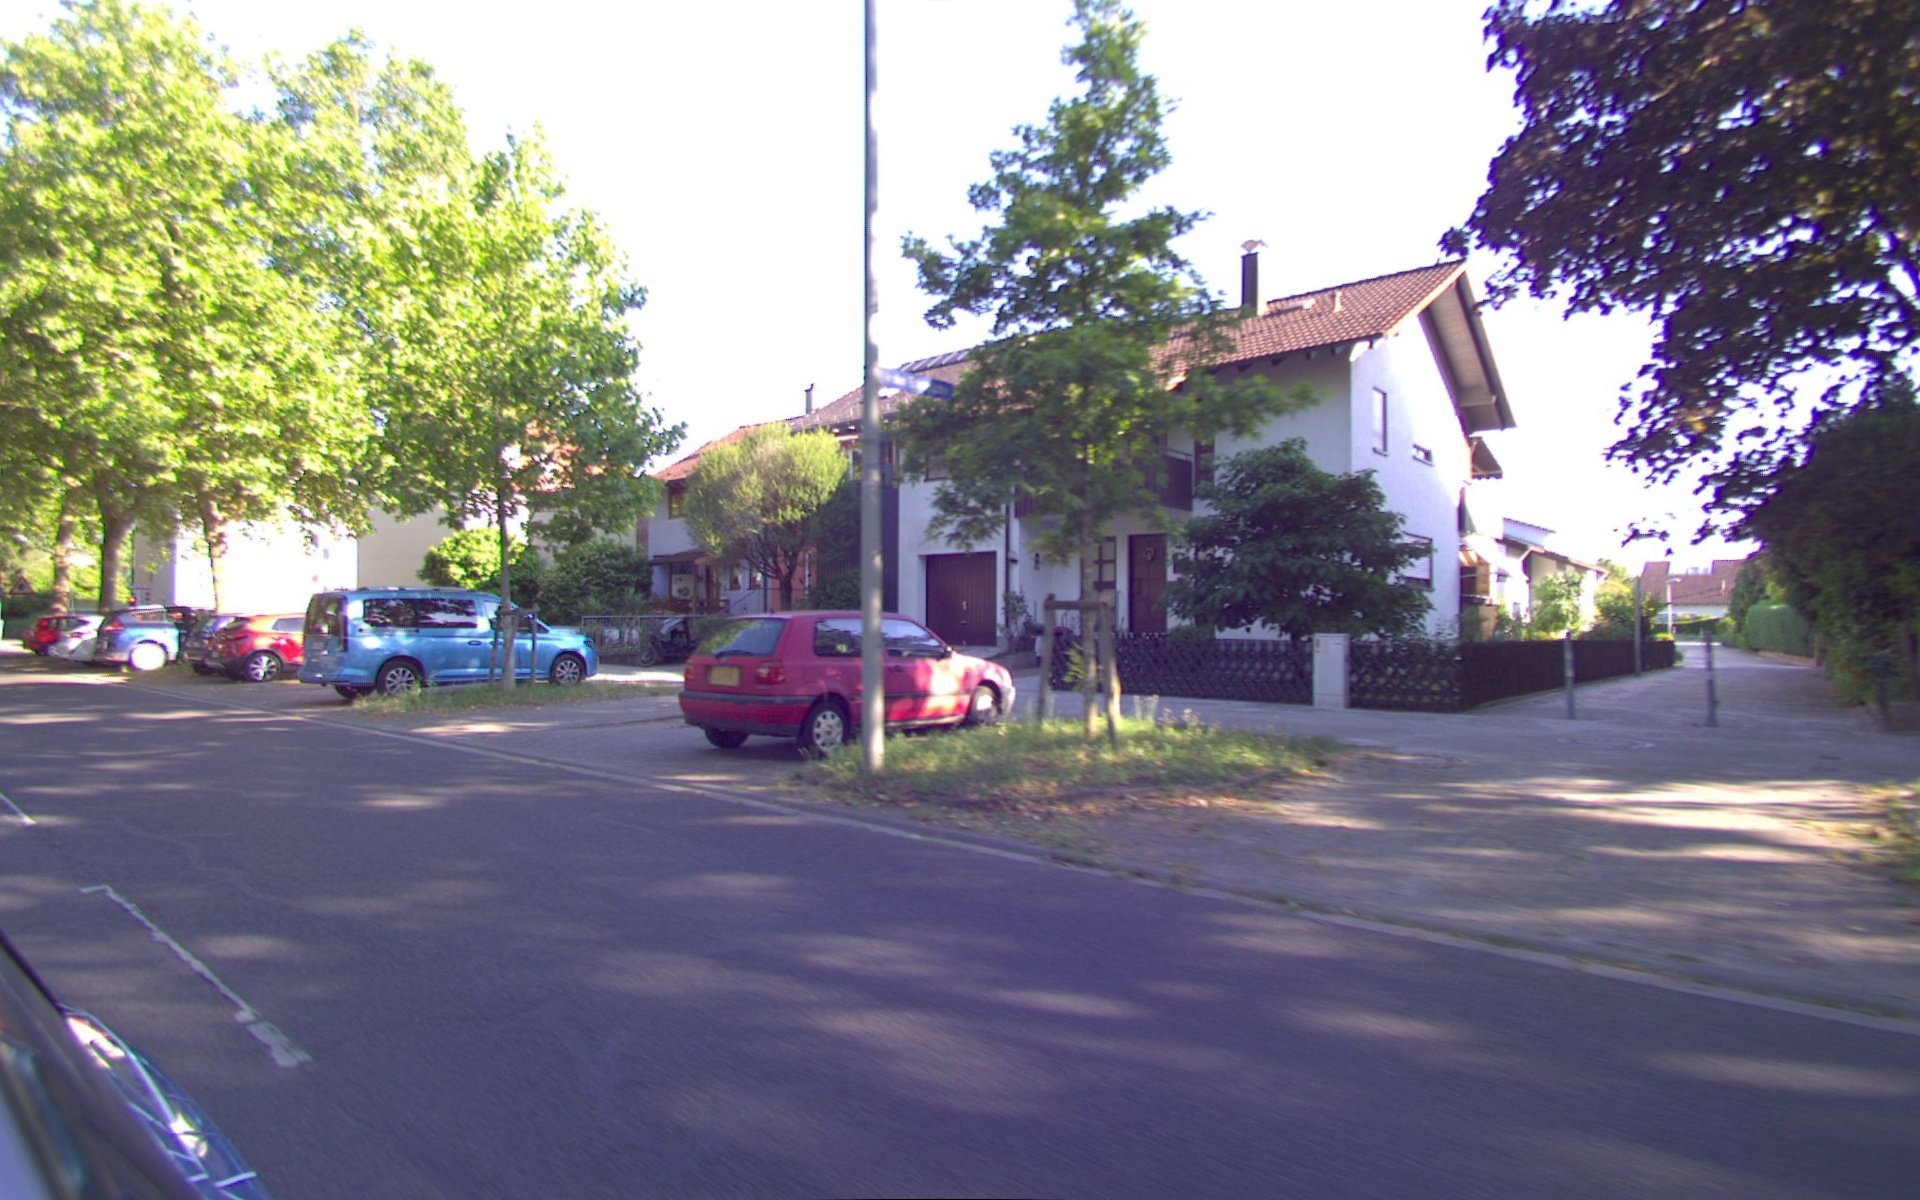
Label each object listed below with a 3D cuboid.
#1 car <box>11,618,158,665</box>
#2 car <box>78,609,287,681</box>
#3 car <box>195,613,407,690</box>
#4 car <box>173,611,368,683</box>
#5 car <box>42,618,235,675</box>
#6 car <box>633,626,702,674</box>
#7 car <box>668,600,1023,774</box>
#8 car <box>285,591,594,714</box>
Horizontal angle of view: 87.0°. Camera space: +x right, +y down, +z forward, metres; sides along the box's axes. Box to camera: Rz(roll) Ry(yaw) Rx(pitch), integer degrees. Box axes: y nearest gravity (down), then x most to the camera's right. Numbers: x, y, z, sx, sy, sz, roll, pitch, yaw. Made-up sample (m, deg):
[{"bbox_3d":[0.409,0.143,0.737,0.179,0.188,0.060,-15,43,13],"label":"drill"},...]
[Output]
[{"bbox_3d":[-31.594,1.456,36.616,1.828,1.546,3.731,-1,-1,36],"label":"car"},{"bbox_3d":[-20.394,1.123,26.687,1.829,1.729,4.052,-1,-1,38],"label":"car"},{"bbox_3d":[-14.577,1.083,22.525,1.780,1.528,3.606,-1,-1,38],"label":"car"},{"bbox_3d":[-16.420,1.068,24.220,1.722,1.528,3.482,-1,0,34],"label":"car"},{"bbox_3d":[-24.210,1.309,29.949,1.872,1.512,4.124,-1,-1,36],"label":"car"},{"bbox_3d":[-7.153,1.206,24.772,0.699,1.125,1.499,-1,-1,39],"label":"car"},{"bbox_3d":[-1.065,0.782,10.980,1.662,1.530,3.835,-1,-1,37],"label":"car"},{"bbox_3d":[-8.840,0.793,17.529,1.992,1.838,4.345,-1,-1,37],"label":"car"}]
